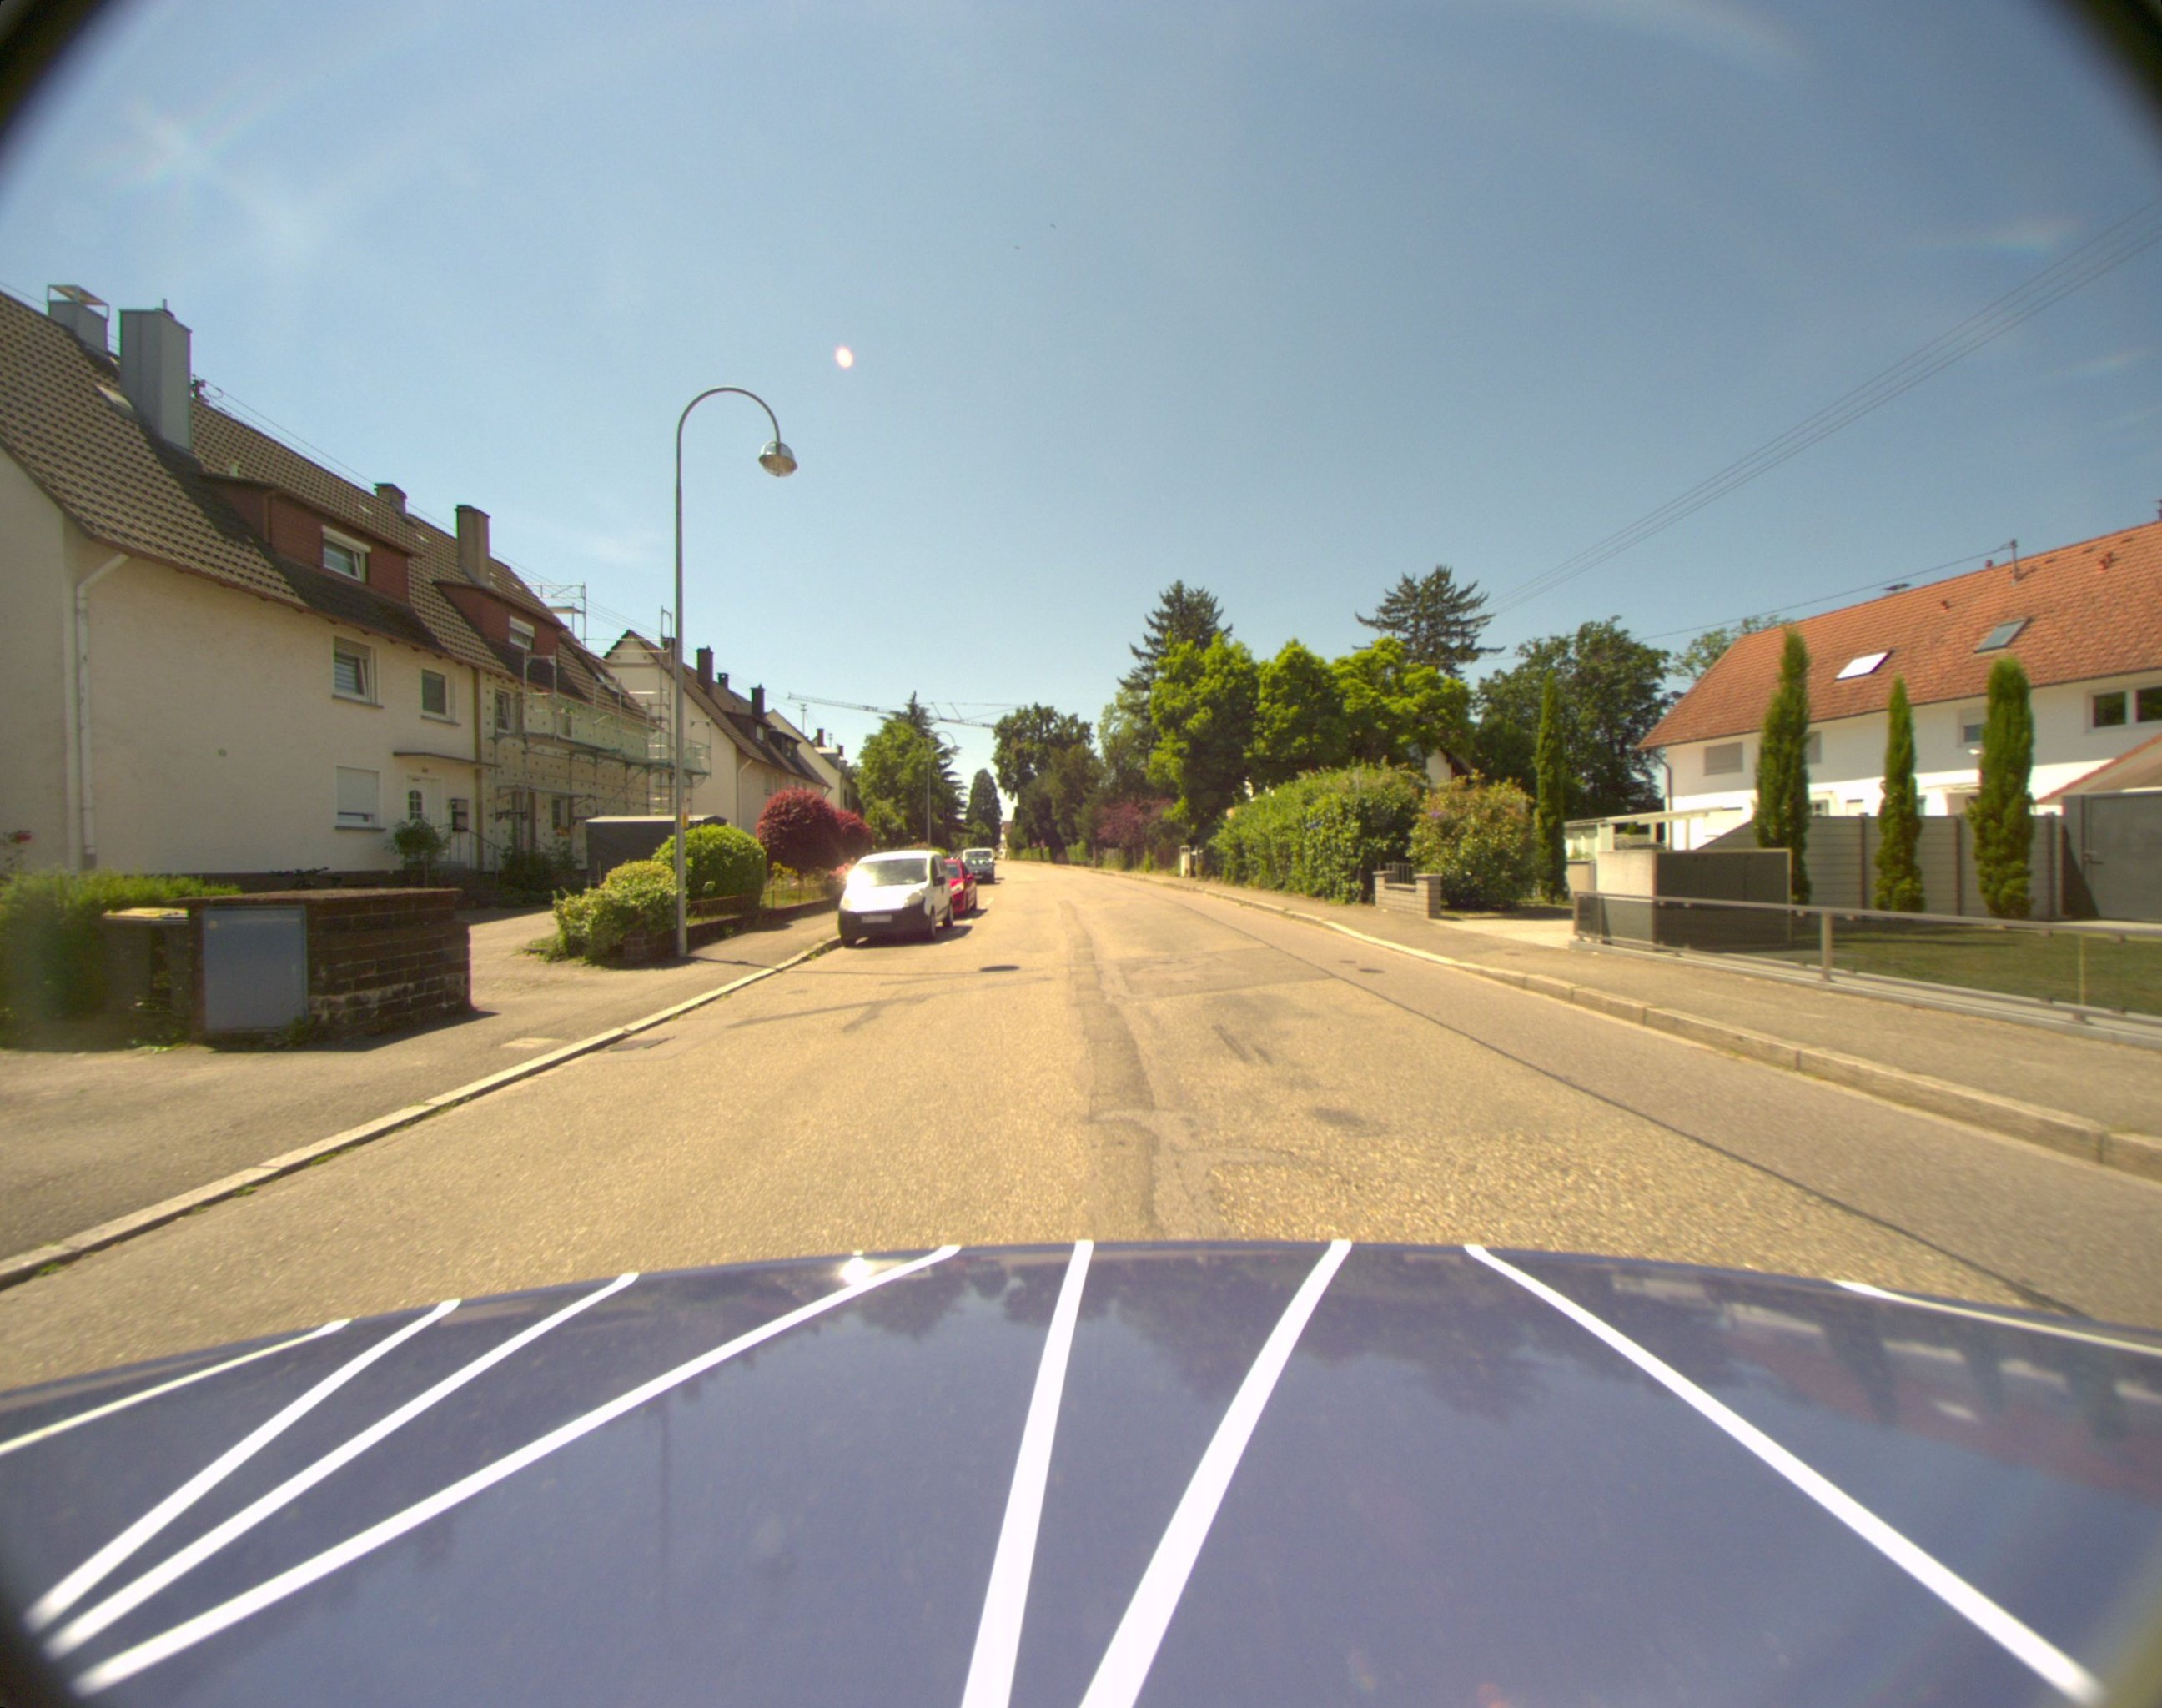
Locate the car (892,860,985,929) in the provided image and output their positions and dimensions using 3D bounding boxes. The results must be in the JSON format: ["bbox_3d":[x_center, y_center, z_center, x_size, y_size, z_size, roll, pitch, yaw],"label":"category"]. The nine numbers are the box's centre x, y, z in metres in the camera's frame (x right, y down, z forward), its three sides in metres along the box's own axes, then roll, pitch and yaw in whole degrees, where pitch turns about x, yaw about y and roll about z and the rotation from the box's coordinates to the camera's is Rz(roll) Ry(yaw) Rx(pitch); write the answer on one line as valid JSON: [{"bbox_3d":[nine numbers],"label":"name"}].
[{"bbox_3d":[-3.626,0.971,19.988,1.688,1.488,3.939,-2,1,0],"label":"car"}]

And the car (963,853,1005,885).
[{"bbox_3d":[-5.050,0.738,39.877,1.689,1.488,3.939,-2,1,-1],"label":"car"}]

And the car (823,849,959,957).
[{"bbox_3d":[-3.627,0.840,15.222,1.689,1.769,3.939,-4,1,-1],"label":"car"}]
